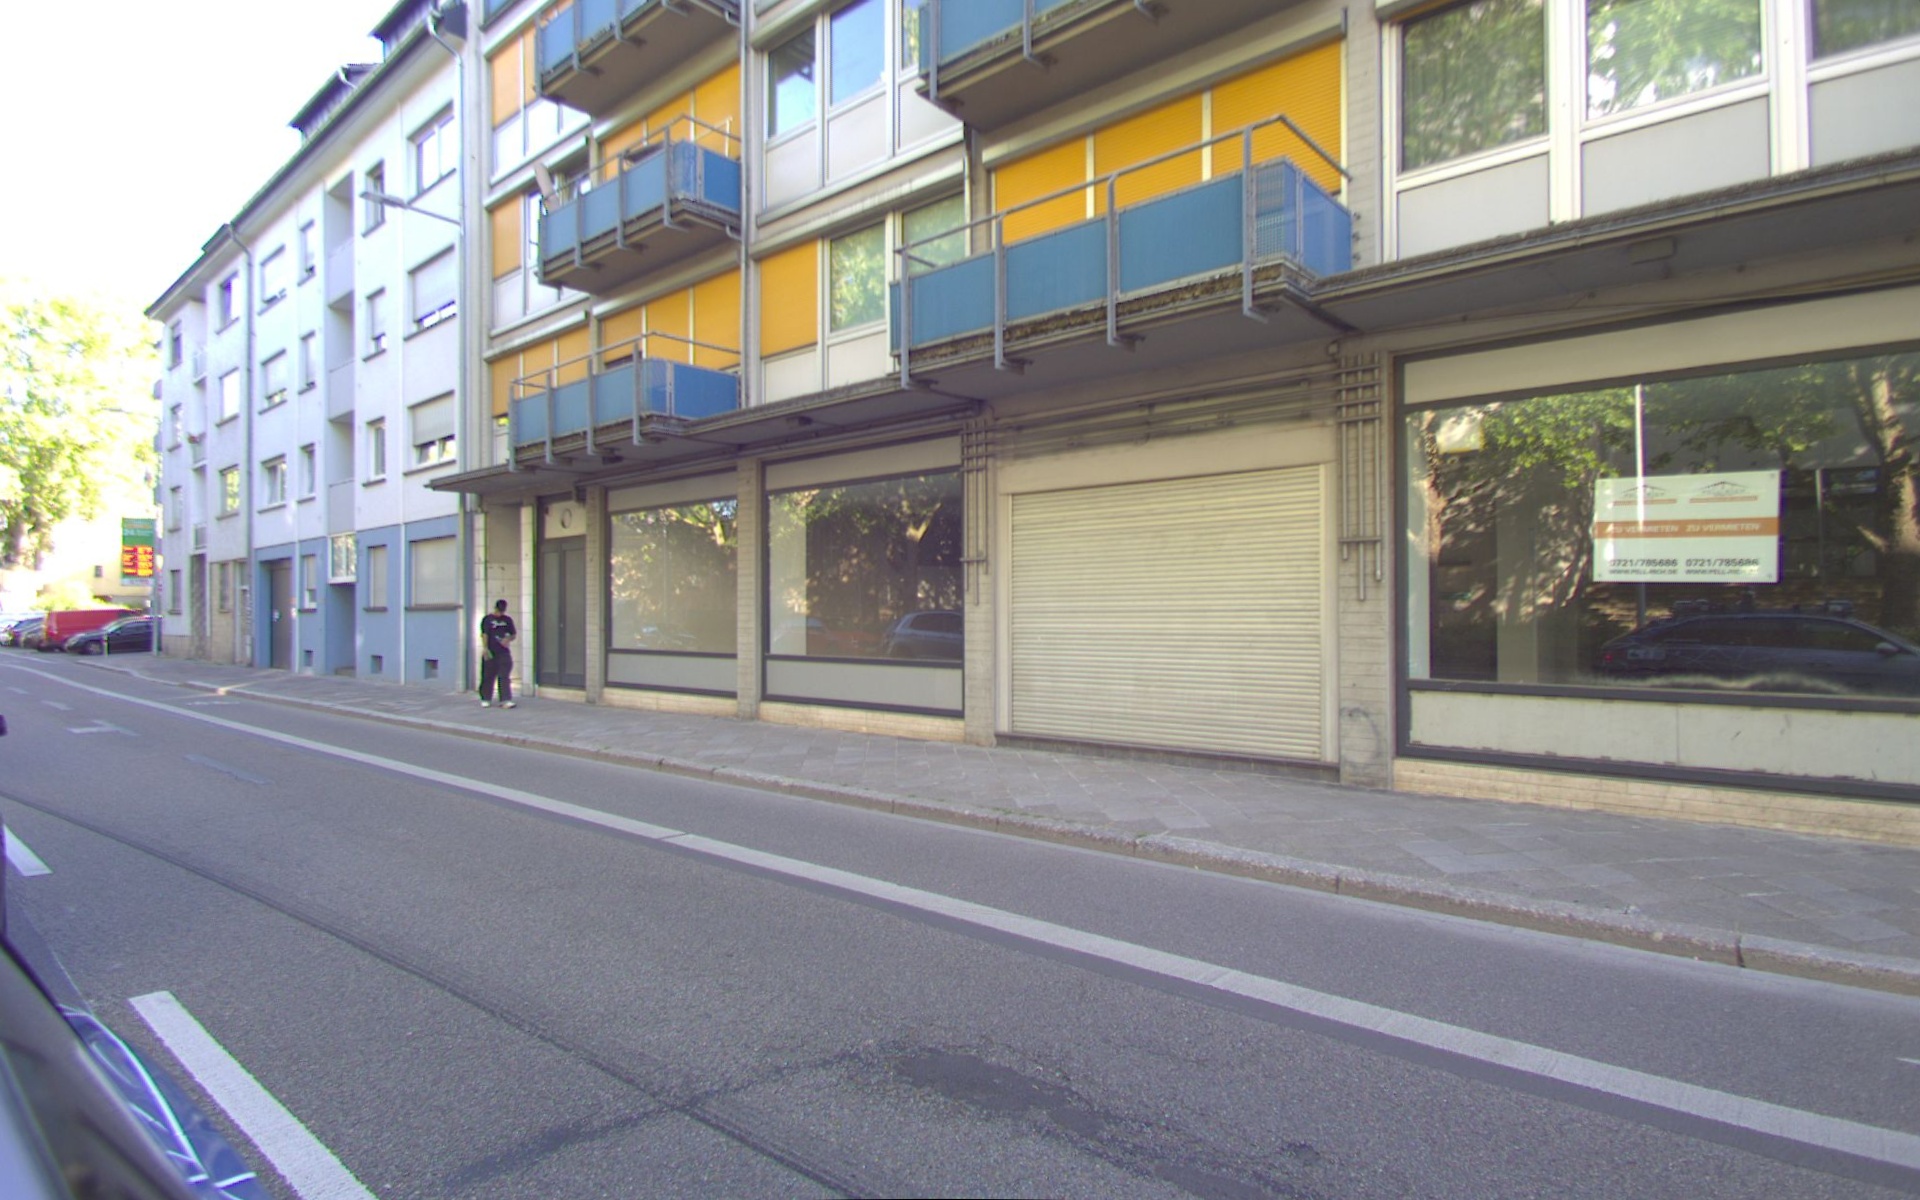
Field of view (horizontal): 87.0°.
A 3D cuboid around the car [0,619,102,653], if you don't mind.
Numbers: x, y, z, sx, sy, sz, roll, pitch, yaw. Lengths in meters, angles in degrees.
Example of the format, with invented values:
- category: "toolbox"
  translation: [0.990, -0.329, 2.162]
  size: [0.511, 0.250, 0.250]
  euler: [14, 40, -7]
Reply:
- category: "car"
  translation: [-55.964, 2.168, 61.981]
  size: [2.314, 1.952, 4.978]
  euler: [-1, -1, 41]

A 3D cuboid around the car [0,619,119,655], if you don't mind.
- category: "car"
  translation: [-52.231, 2.118, 58.713]
  size: [2.159, 1.952, 4.990]
  euler: [-1, -1, 41]

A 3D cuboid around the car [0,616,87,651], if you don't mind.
- category: "car"
  translation: [-59.339, 2.107, 64.708]
  size: [2.186, 2.164, 5.077]
  euler: [-1, -1, 41]

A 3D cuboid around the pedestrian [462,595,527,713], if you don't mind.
- category: "pedestrian"
  translation: [-7.257, 0.821, 15.774]
  size: [0.793, 1.785, 0.654]
  euler: [-2, -1, 42]

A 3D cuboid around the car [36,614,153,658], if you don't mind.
- category: "car"
  translation: [-40.584, 1.642, 47.511]
  size: [1.866, 1.952, 3.946]
  euler: [-1, -1, 41]

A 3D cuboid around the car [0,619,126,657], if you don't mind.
- category: "car"
  translation: [-50.292, 2.095, 56.825]
  size: [2.186, 1.952, 5.077]
  euler: [-1, -1, 41]

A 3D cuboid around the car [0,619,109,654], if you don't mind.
- category: "car"
  translation: [-54.117, 2.140, 60.350]
  size: [2.082, 1.952, 4.928]
  euler: [-1, -1, 41]

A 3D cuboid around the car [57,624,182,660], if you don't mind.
- category: "car"
  translation: [-36.547, 1.795, 44.072]
  size: [1.742, 1.431, 3.946]
  euler: [-1, -1, 41]

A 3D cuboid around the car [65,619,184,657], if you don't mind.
- category: "car"
  translation: [-37.871, 1.686, 45.938]
  size: [1.742, 1.572, 3.946]
  euler: [-1, -1, 41]

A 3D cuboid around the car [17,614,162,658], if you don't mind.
- category: "car"
  translation: [-42.685, 1.709, 49.709]
  size: [2.256, 1.995, 5.156]
  euler: [-1, -1, 41]
